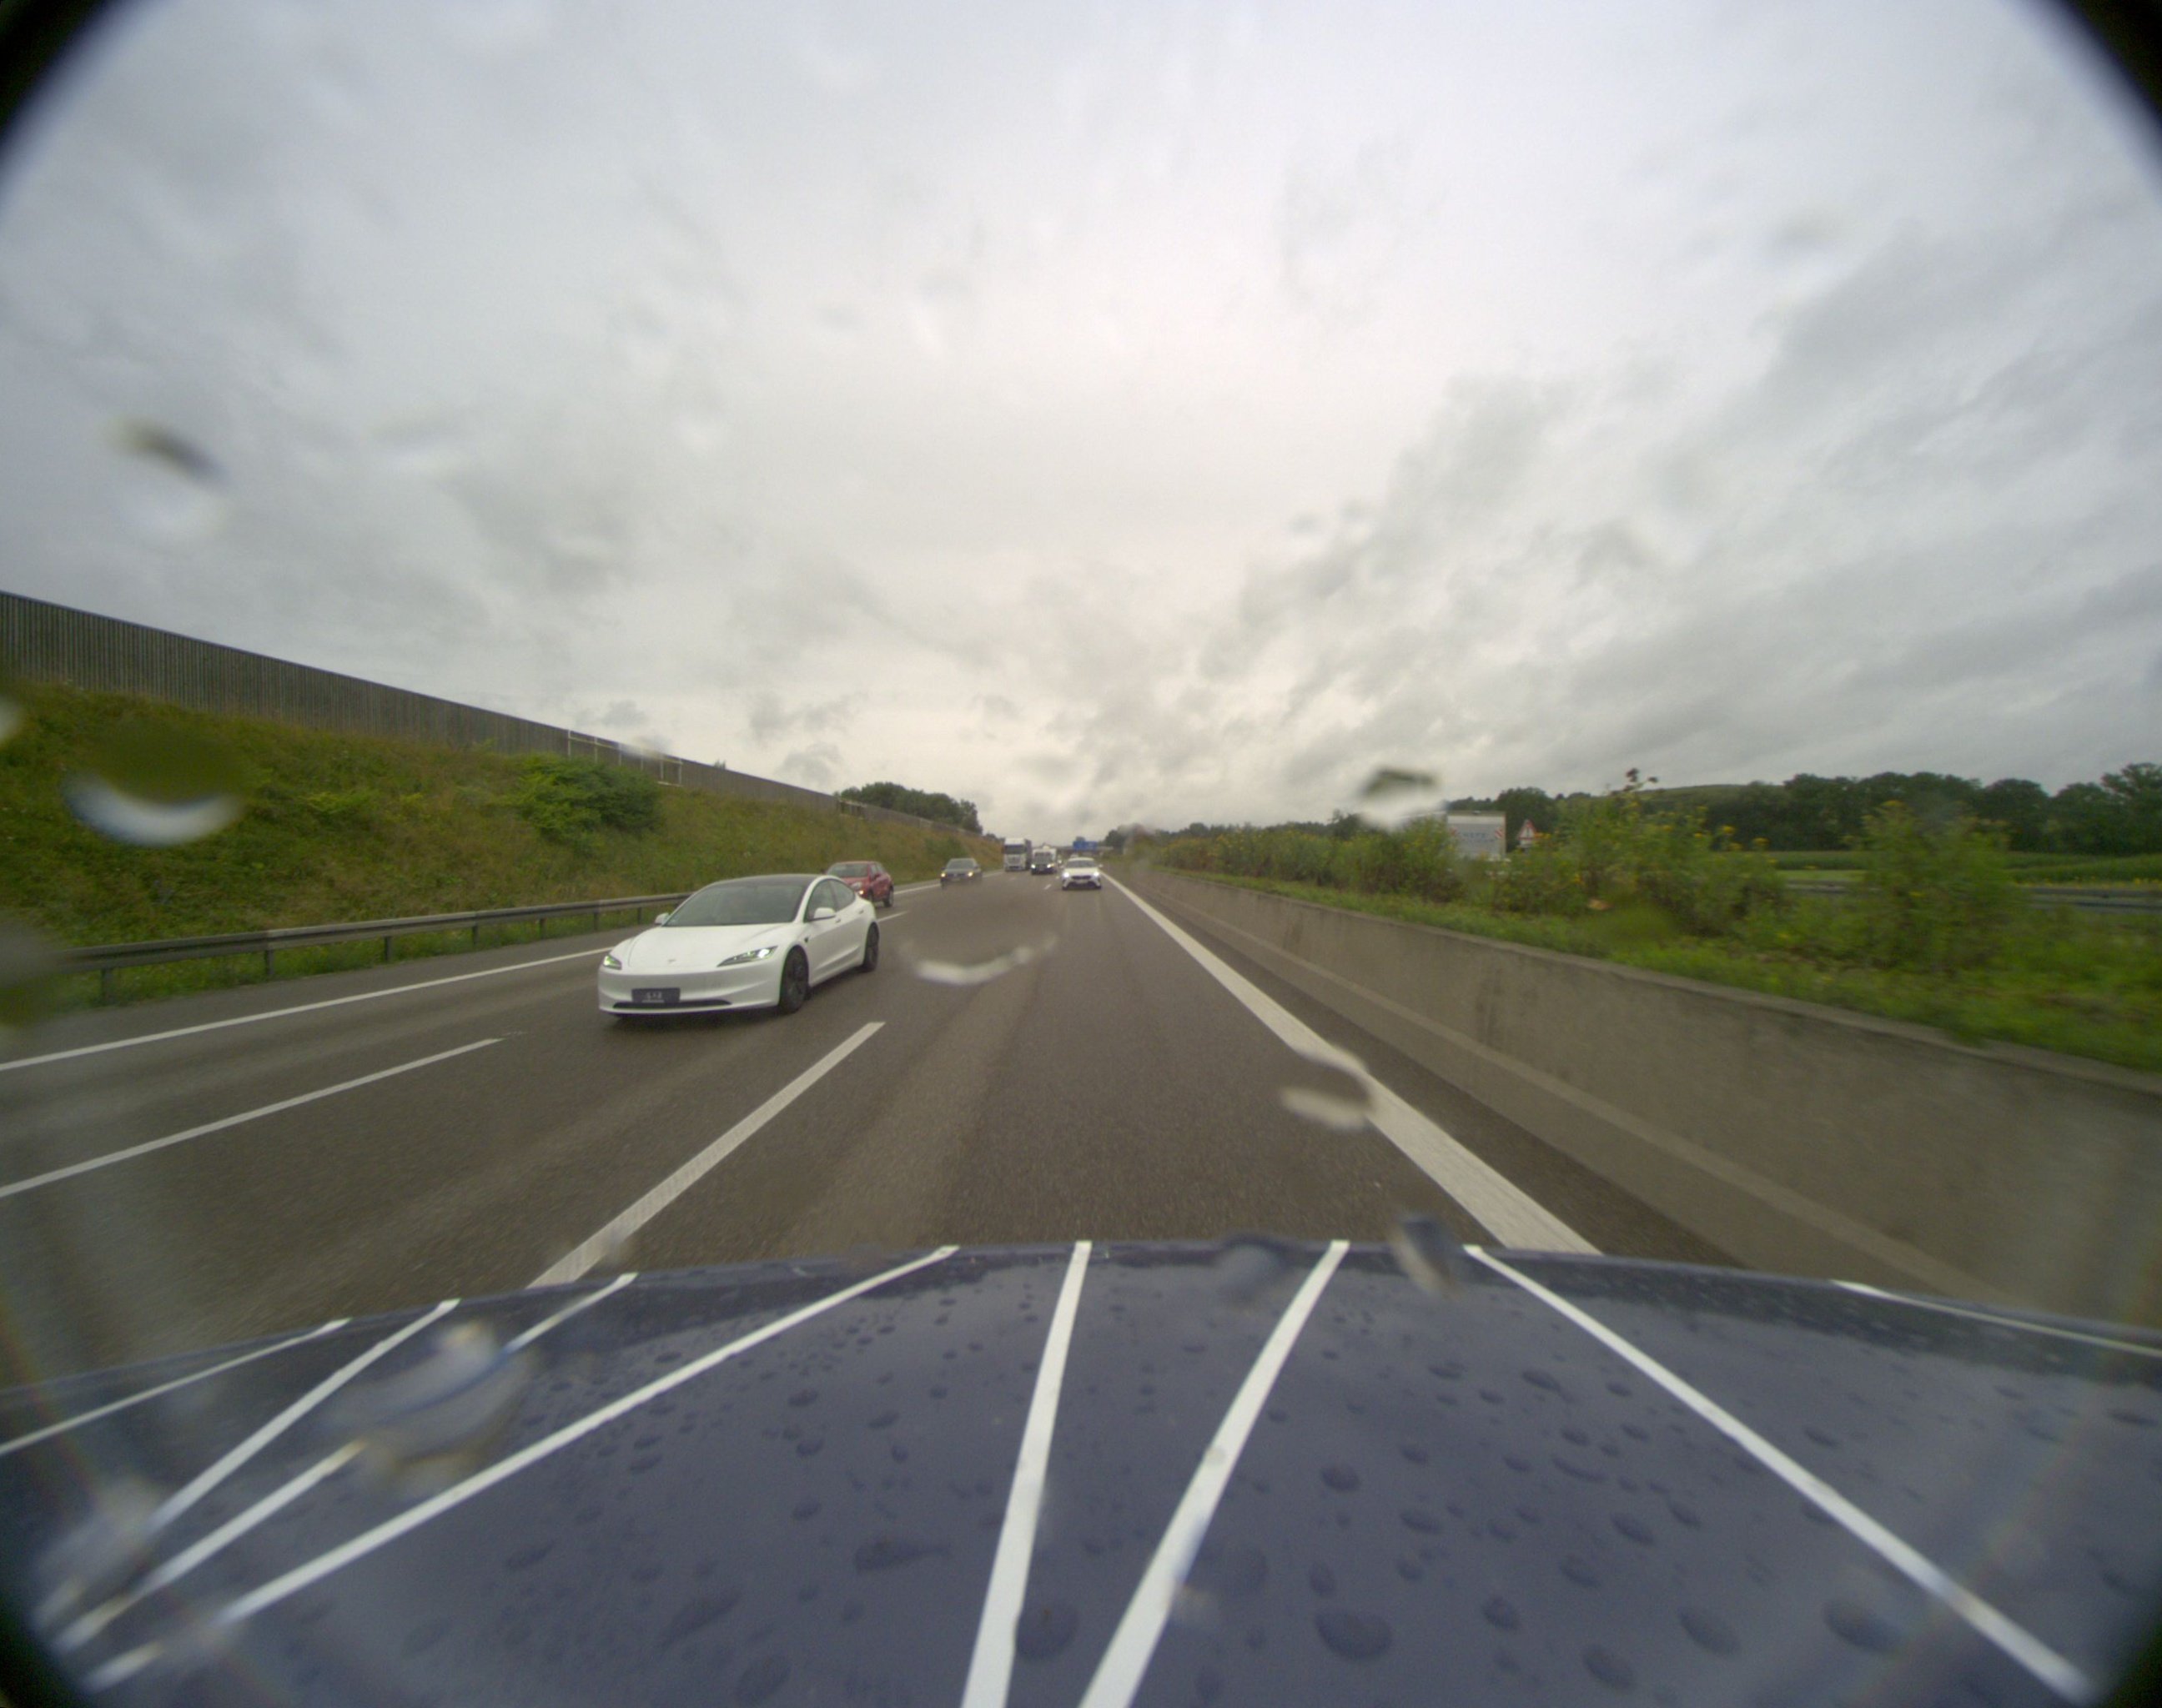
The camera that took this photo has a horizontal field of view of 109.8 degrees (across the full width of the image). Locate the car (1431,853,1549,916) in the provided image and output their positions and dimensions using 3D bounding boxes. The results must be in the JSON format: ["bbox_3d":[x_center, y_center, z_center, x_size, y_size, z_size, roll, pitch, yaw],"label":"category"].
[{"bbox_3d":[13.481,0.932,25.340,1.758,1.894,4.096,-2,0,1],"label":"car"}]

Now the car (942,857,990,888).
[{"bbox_3d":[-6.440,1.003,43.001,1.929,1.480,4.485,-2,1,0],"label":"car"}]

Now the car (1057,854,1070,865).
[{"bbox_3d":[-2.795,0.879,121.092,1.999,1.759,3.999,0,0,-1],"label":"car"}]

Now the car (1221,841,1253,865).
[{"bbox_3d":[17.836,-0.179,87.184,2.251,2.515,6.905,-2,1,0],"label":"car"}]

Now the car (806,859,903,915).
[{"bbox_3d":[-7.234,1.002,24.683,1.878,1.526,3.999,-2,1,0],"label":"car"}]

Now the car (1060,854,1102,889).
[{"bbox_3d":[-0.001,0.807,36.296,1.841,1.455,3.999,-2,1,0],"label":"car"}]

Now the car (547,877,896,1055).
[{"bbox_3d":[-3.860,1.097,9.319,1.878,1.355,4.812,-2,1,1],"label":"car"}]

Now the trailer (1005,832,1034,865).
[{"bbox_3d":[-8.148,-0.775,102.420,3.090,4.003,15.218,-2,1,-2],"label":"trailer"}]

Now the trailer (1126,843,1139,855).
[{"bbox_3d":[15.821,-1.620,234.080,2.922,3.409,13.238,-2,1,-1],"label":"trailer"}]

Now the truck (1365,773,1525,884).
[{"bbox_3d":[17.417,-1.145,37.453,3.233,4.622,9.673,-2,1,1],"label":"truck"}]

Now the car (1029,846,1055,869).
[{"bbox_3d":[-3.607,0.316,70.607,1.998,2.002,4.937,-2,1,1],"label":"car"}]

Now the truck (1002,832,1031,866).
[{"bbox_3d":[-7.869,-0.615,93.914,3.090,4.003,6.954,-2,1,-2],"label":"truck"}]

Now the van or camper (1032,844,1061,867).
[{"bbox_3d":[-3.407,0.121,76.104,2.432,2.139,6.498,-2,1,1],"label":"van or camper"}]
